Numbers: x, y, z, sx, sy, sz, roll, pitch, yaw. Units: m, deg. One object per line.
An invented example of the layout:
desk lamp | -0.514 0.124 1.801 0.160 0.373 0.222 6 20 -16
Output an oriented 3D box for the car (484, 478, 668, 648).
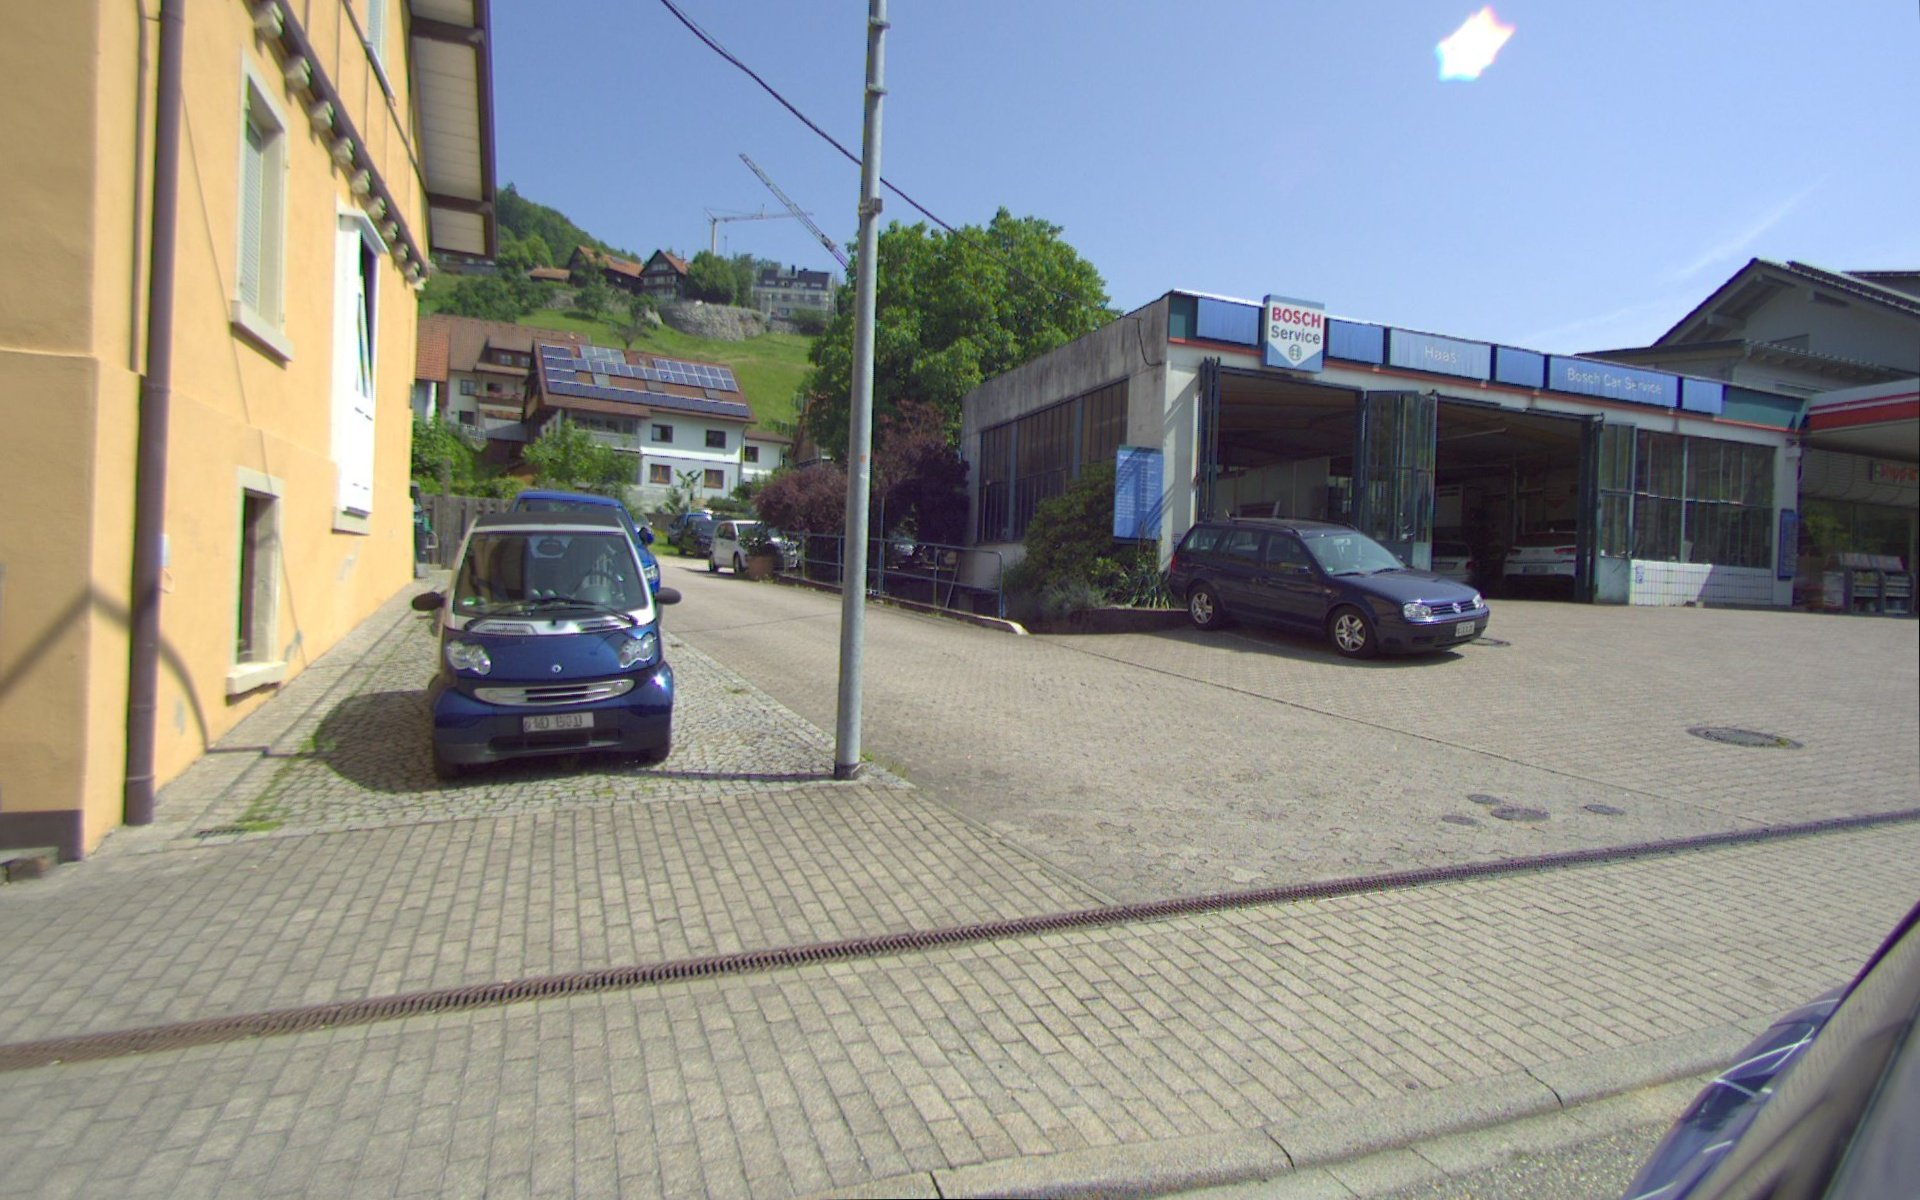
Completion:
car | -4.660 -0.547 11.929 1.699 1.644 3.946 0 5 -25

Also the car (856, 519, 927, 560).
car | -2.989 -2.619 43.410 1.645 1.573 3.921 -1 6 -26

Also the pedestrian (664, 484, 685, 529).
pedestrian | -15.701 -5.152 55.646 0.822 2.459 0.817 5 6 36

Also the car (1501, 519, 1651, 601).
car | 14.293 -0.981 23.428 3.859 1.707 1.606 -3 7 -38

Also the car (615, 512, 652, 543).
car | -16.012 -3.582 49.603 1.317 1.386 3.222 -1 6 -25

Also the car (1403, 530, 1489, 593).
car | 12.391 -0.948 25.986 1.529 1.423 3.456 3 1 19

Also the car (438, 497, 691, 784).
car | -2.866 0.104 7.270 1.396 1.553 2.671 -1 8 -24

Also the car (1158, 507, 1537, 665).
car | 4.642 -0.349 12.870 1.764 1.562 4.341 -2 7 -29

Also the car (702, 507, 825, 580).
car | -5.349 -1.575 26.981 1.959 1.663 4.890 -1 6 -27
